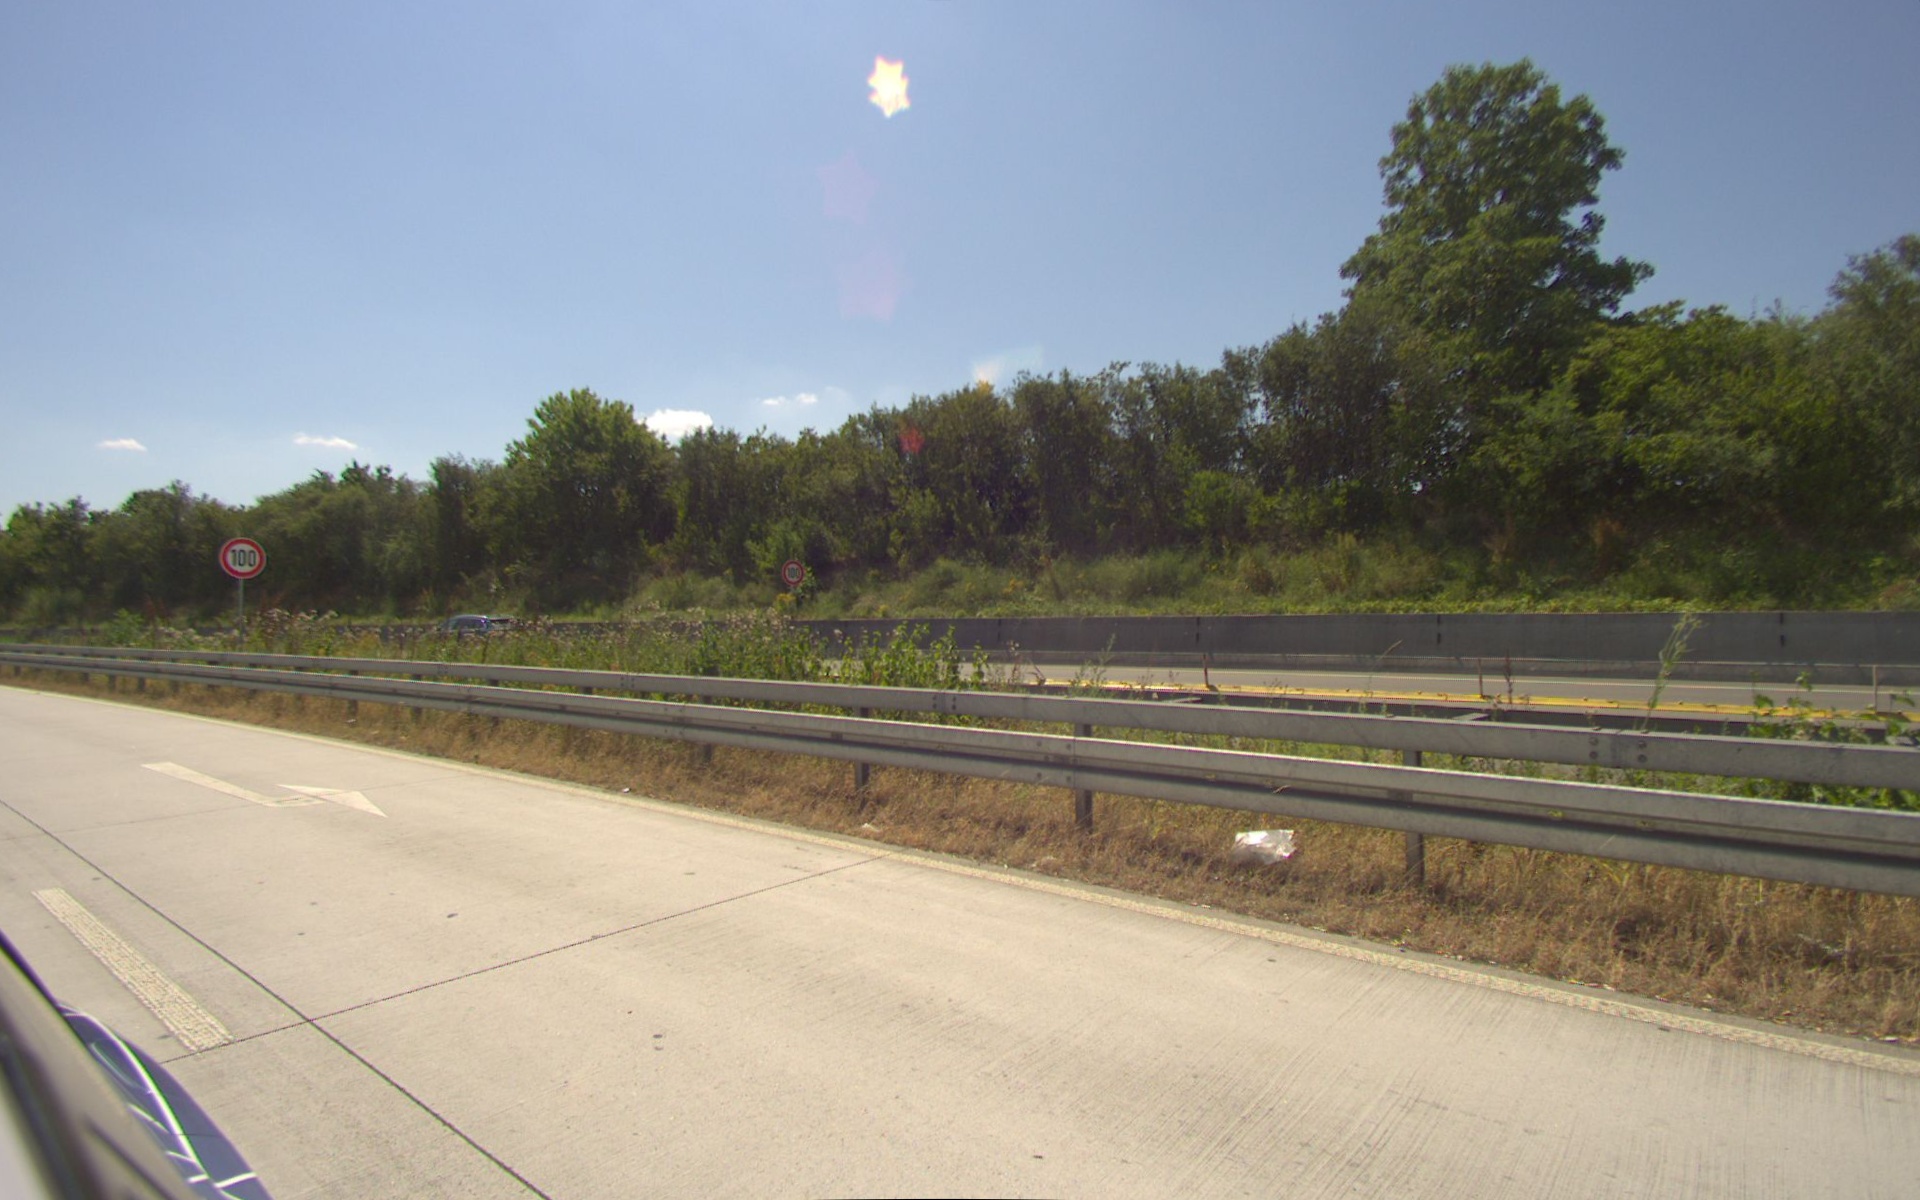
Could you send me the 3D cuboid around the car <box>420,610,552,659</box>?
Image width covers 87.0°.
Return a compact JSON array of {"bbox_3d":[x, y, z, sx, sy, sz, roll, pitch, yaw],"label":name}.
[{"bbox_3d":[-15.392,1.080,32.806,4.592,1.458,1.856,-1,0,35],"label":"car"}]
